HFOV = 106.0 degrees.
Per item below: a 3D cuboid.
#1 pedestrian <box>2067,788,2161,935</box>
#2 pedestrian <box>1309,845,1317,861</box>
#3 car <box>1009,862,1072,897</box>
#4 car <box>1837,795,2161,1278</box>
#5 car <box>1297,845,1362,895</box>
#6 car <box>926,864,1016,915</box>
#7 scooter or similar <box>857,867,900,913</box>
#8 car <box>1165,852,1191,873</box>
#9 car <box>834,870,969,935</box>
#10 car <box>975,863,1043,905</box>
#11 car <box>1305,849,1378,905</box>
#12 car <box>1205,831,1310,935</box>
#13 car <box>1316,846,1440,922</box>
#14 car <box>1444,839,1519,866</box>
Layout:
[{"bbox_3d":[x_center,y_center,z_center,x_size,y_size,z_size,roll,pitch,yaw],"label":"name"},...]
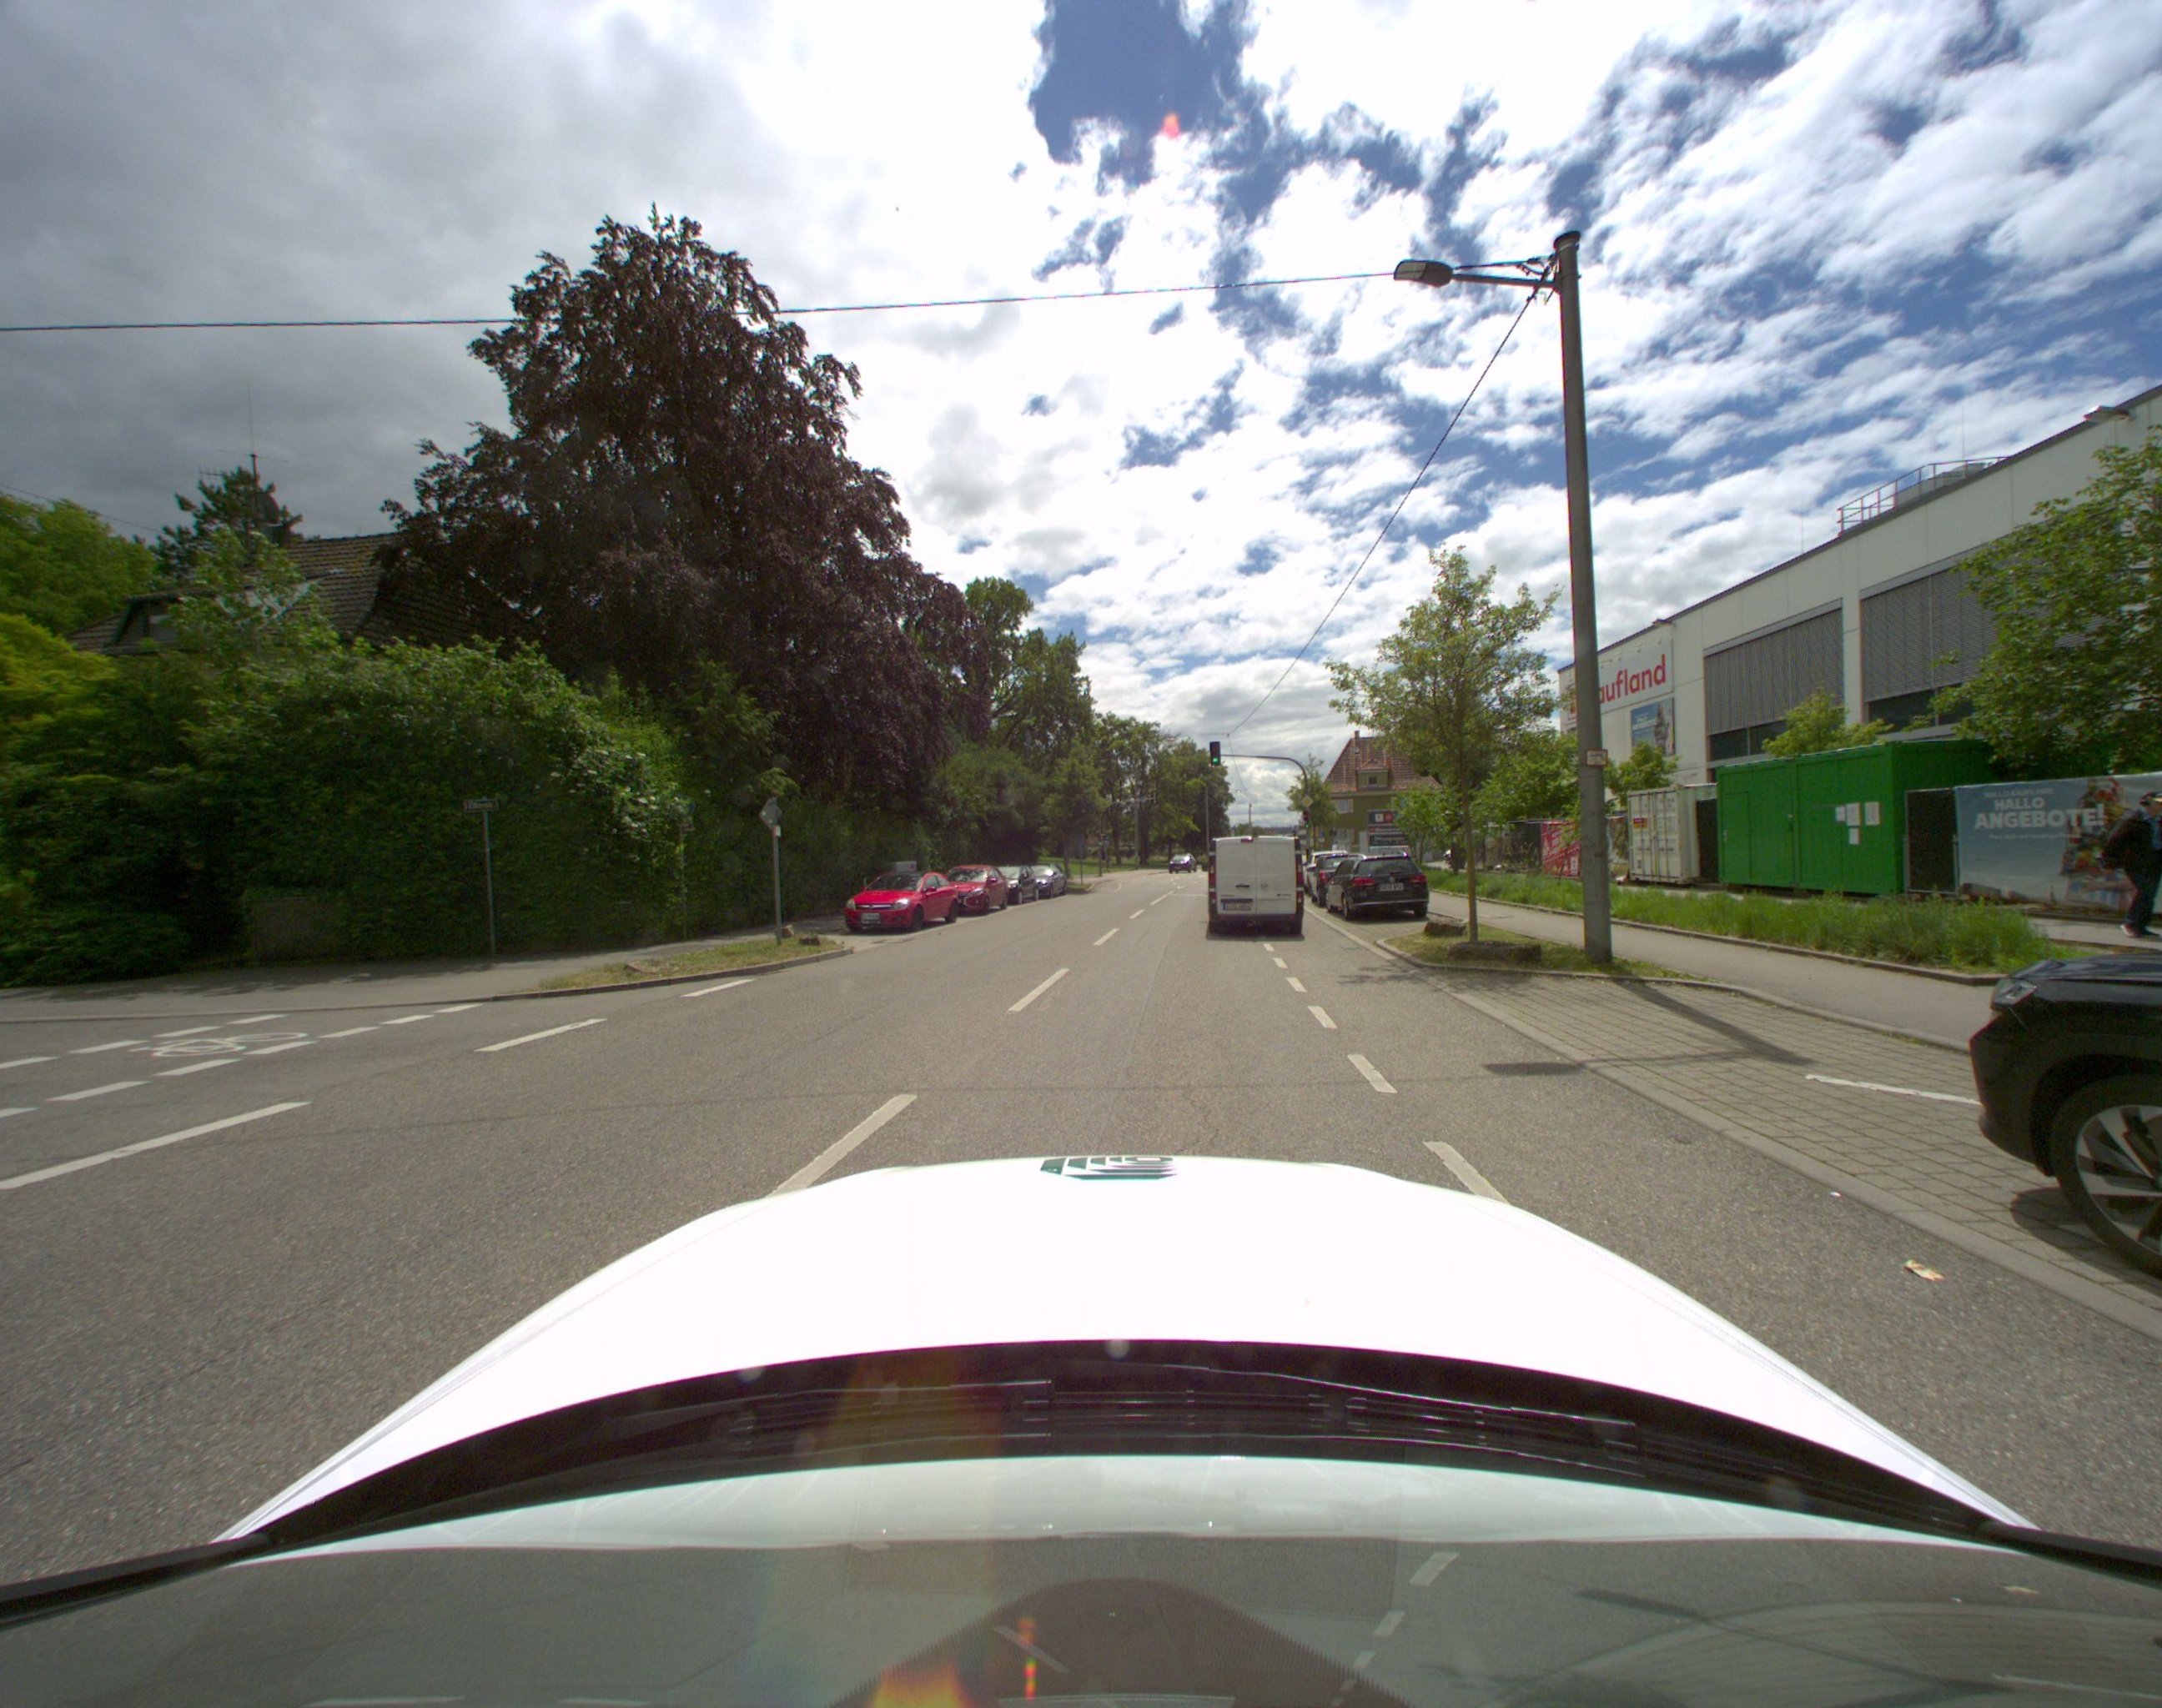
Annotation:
[{"bbox_3d":[12.776,0.082,9.844,0.648,1.697,0.846,-2,-1,7],"label":"pedestrian"},{"bbox_3d":[22.970,-0.075,80.641,0.673,1.553,0.839,-4,-3,17],"label":"pedestrian"},{"bbox_3d":[-1.672,1.025,34.970,1.684,1.365,4.699,0,0,10],"label":"car"},{"bbox_3d":[4.513,0.548,1.399,1.872,1.621,4.846,-3,-1,0],"label":"car"},{"bbox_3d":[9.116,0.567,30.187,1.726,1.616,4.399,-4,-1,10],"label":"car"},{"bbox_3d":[-3.403,1.078,25.930,1.639,1.450,4.116,-1,0,10],"label":"car"},{"bbox_3d":[-6.465,1.128,26.077,0.666,1.412,1.654,-1,0,12],"label":"scooter or similar"},{"bbox_3d":[8.437,0.701,70.414,1.821,1.616,4.165,-3,0,11],"label":"car"},{"bbox_3d":[-4.390,1.156,20.700,1.650,1.378,4.579,-1,0,11],"label":"car"},{"bbox_3d":[-2.659,1.080,30.758,1.585,1.450,3.607,-1,0,11],"label":"car"},{"bbox_3d":[7.800,0.640,24.691,1.558,1.493,4.012,-3,-1,11],"label":"car"},{"bbox_3d":[3.709,0.544,17.844,1.927,1.960,4.844,0,0,8],"label":"car"},{"bbox_3d":[6.991,0.655,19.715,1.754,1.477,4.947,-5,-1,8],"label":"car"},{"bbox_3d":[25.596,-0.116,52.171,3.968,1.606,1.610,-2,0,4],"label":"car"}]
